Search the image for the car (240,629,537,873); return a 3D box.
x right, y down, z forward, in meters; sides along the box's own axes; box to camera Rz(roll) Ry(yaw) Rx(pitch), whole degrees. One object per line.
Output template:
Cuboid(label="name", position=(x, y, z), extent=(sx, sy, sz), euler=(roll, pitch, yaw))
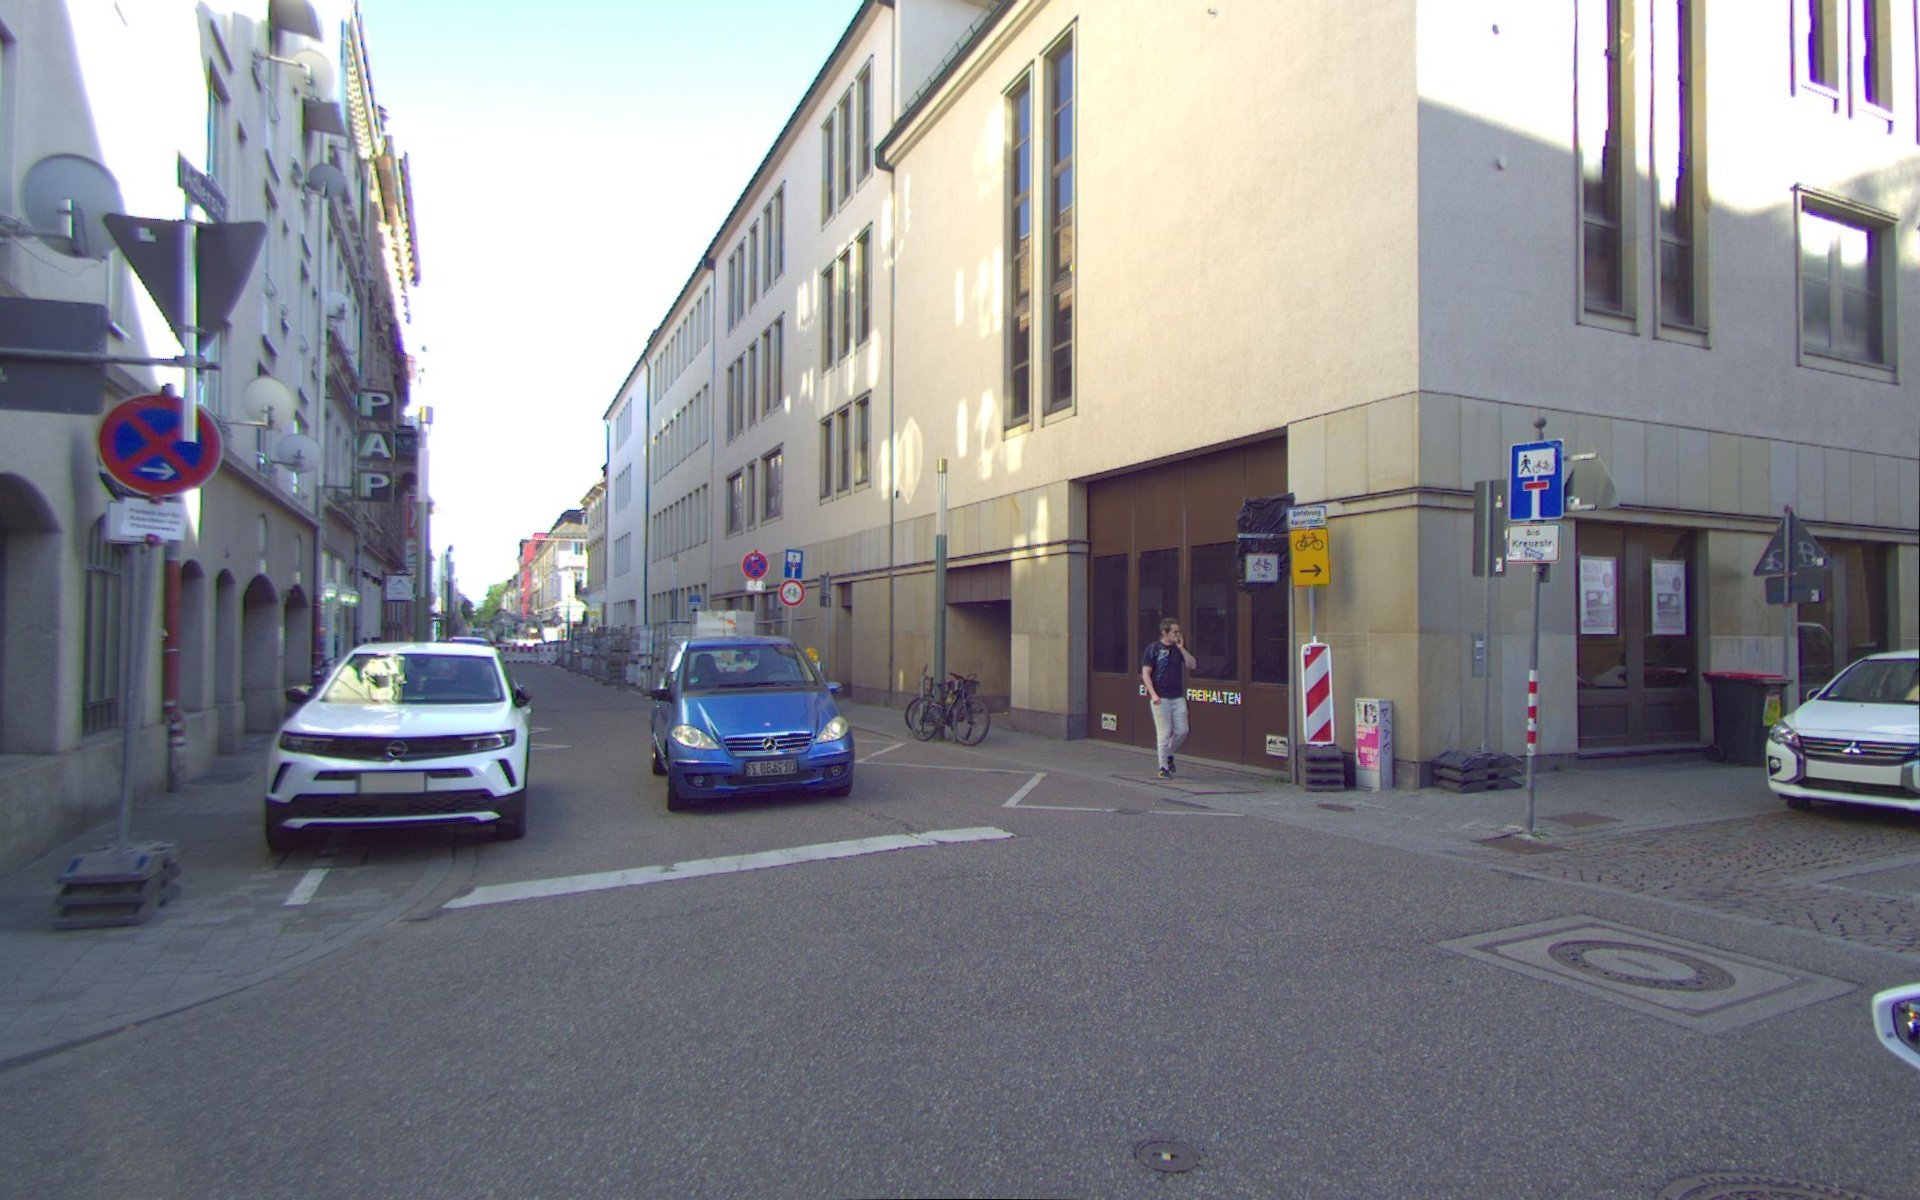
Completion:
Cuboid(label="car", position=(-4.698, 1.097, 8.826), extent=(1.718, 1.614, 3.949), euler=(2, -3, -22))

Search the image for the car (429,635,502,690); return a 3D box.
Cuboid(label="car", position=(-15.243, 1.881, 30.893), extent=(1.772, 1.545, 3.970), euler=(3, -3, -29))

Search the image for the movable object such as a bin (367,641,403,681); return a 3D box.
Cuboid(label="movable object such as a bin", position=(-15.917, 1.676, 27.812), extent=(0.828, 1.062, 0.748), euler=(2, 0, -31))

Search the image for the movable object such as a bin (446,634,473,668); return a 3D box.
Cuboid(label="movable object such as a bin", position=(-23.862, 2.421, 47.886), extent=(1.071, 1.564, 0.901), euler=(3, -3, -30))

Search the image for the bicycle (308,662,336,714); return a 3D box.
Cuboid(label="bicycle", position=(-11.859, 1.616, 18.669), extent=(0.215, 0.869, 1.060), euler=(2, 0, -21))

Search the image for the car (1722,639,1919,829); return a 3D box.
Cuboid(label="car", position=(9.121, 1.132, 9.354), extent=(3.750, 1.511, 1.731), euler=(1, -4, -27))

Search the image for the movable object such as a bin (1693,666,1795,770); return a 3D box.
Cuboid(label="movable object such as a bin", position=(9.161, 1.357, 11.752), extent=(0.583, 1.115, 0.734), euler=(2, 0, -25))

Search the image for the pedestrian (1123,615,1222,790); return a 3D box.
Cuboid(label="pedestrian", position=(2.406, 1.140, 11.418), extent=(0.710, 1.878, 0.853), euler=(3, -4, -38))

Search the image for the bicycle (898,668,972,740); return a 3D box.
Cuboid(label="bicycle", position=(-0.430, 1.671, 16.394), extent=(0.300, 1.064, 1.524), euler=(1, -2, -42))

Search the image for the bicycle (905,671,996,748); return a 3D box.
Cuboid(label="bicycle", position=(-0.171, 1.658, 15.458), extent=(0.300, 1.064, 1.770), euler=(1, -2, -42))

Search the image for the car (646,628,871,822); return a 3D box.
Cuboid(label="car", position=(-2.316, 1.150, 10.715), extent=(1.828, 1.614, 3.790), euler=(-1, -2, -19))
